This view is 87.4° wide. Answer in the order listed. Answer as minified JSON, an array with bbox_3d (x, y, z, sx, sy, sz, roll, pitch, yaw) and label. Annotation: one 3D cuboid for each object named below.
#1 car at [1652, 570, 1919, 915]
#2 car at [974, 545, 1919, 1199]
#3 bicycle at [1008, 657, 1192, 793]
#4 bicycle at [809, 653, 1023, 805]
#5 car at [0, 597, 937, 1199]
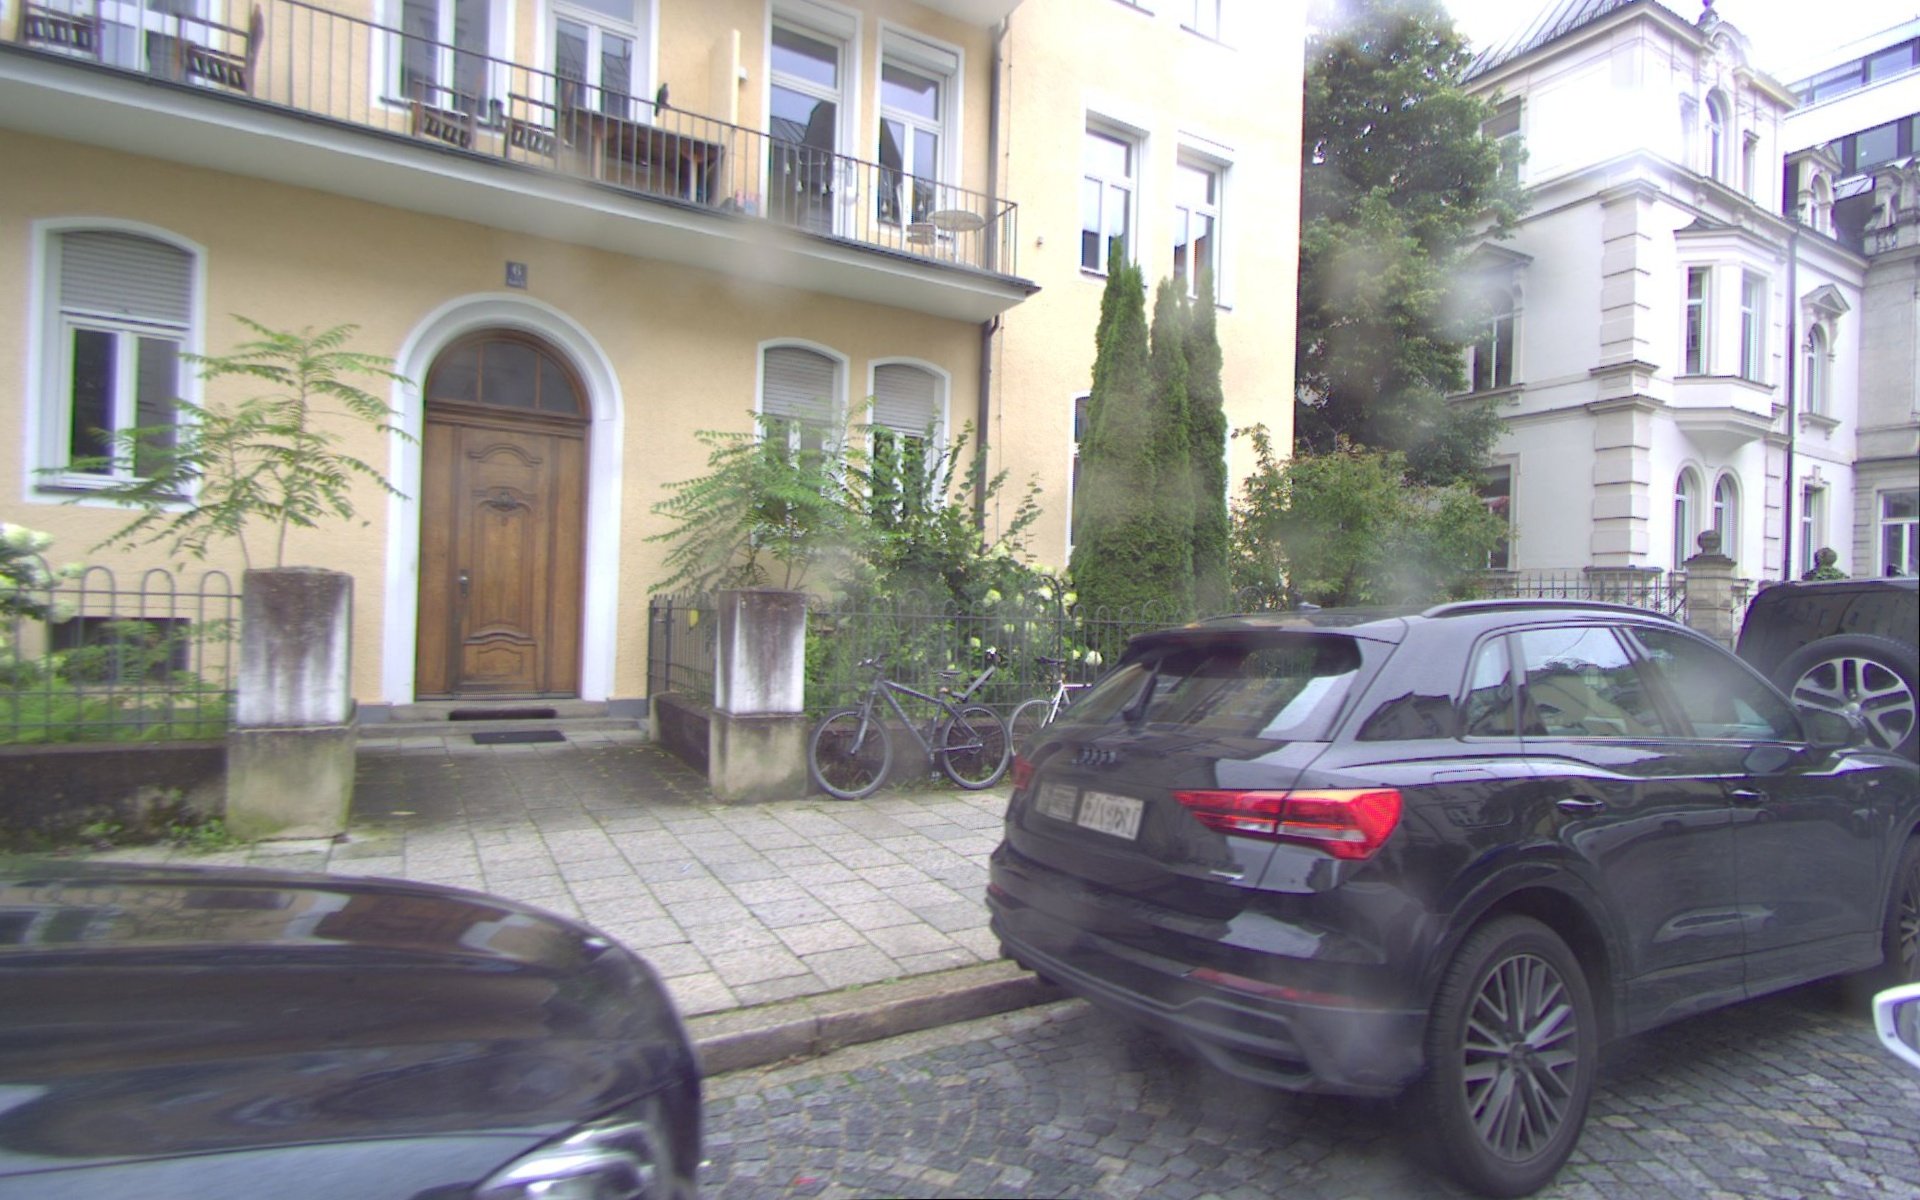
[{"bbox_3d":[6.816,0.781,6.520,4.665,1.761,1.973,2,0,-30],"label":"car"},{"bbox_3d":[2.183,0.788,3.868,4.007,1.610,1.573,3,-3,-29],"label":"car"},{"bbox_3d":[1.158,0.990,8.165,1.554,1.016,0.350,2,0,-29],"label":"bicycle"},{"bbox_3d":[-0.300,0.919,7.376,1.554,1.016,0.350,2,0,-29],"label":"bicycle"},{"bbox_3d":[-2.359,0.699,1.036,4.340,1.448,1.765,3,0,-30],"label":"car"}]
